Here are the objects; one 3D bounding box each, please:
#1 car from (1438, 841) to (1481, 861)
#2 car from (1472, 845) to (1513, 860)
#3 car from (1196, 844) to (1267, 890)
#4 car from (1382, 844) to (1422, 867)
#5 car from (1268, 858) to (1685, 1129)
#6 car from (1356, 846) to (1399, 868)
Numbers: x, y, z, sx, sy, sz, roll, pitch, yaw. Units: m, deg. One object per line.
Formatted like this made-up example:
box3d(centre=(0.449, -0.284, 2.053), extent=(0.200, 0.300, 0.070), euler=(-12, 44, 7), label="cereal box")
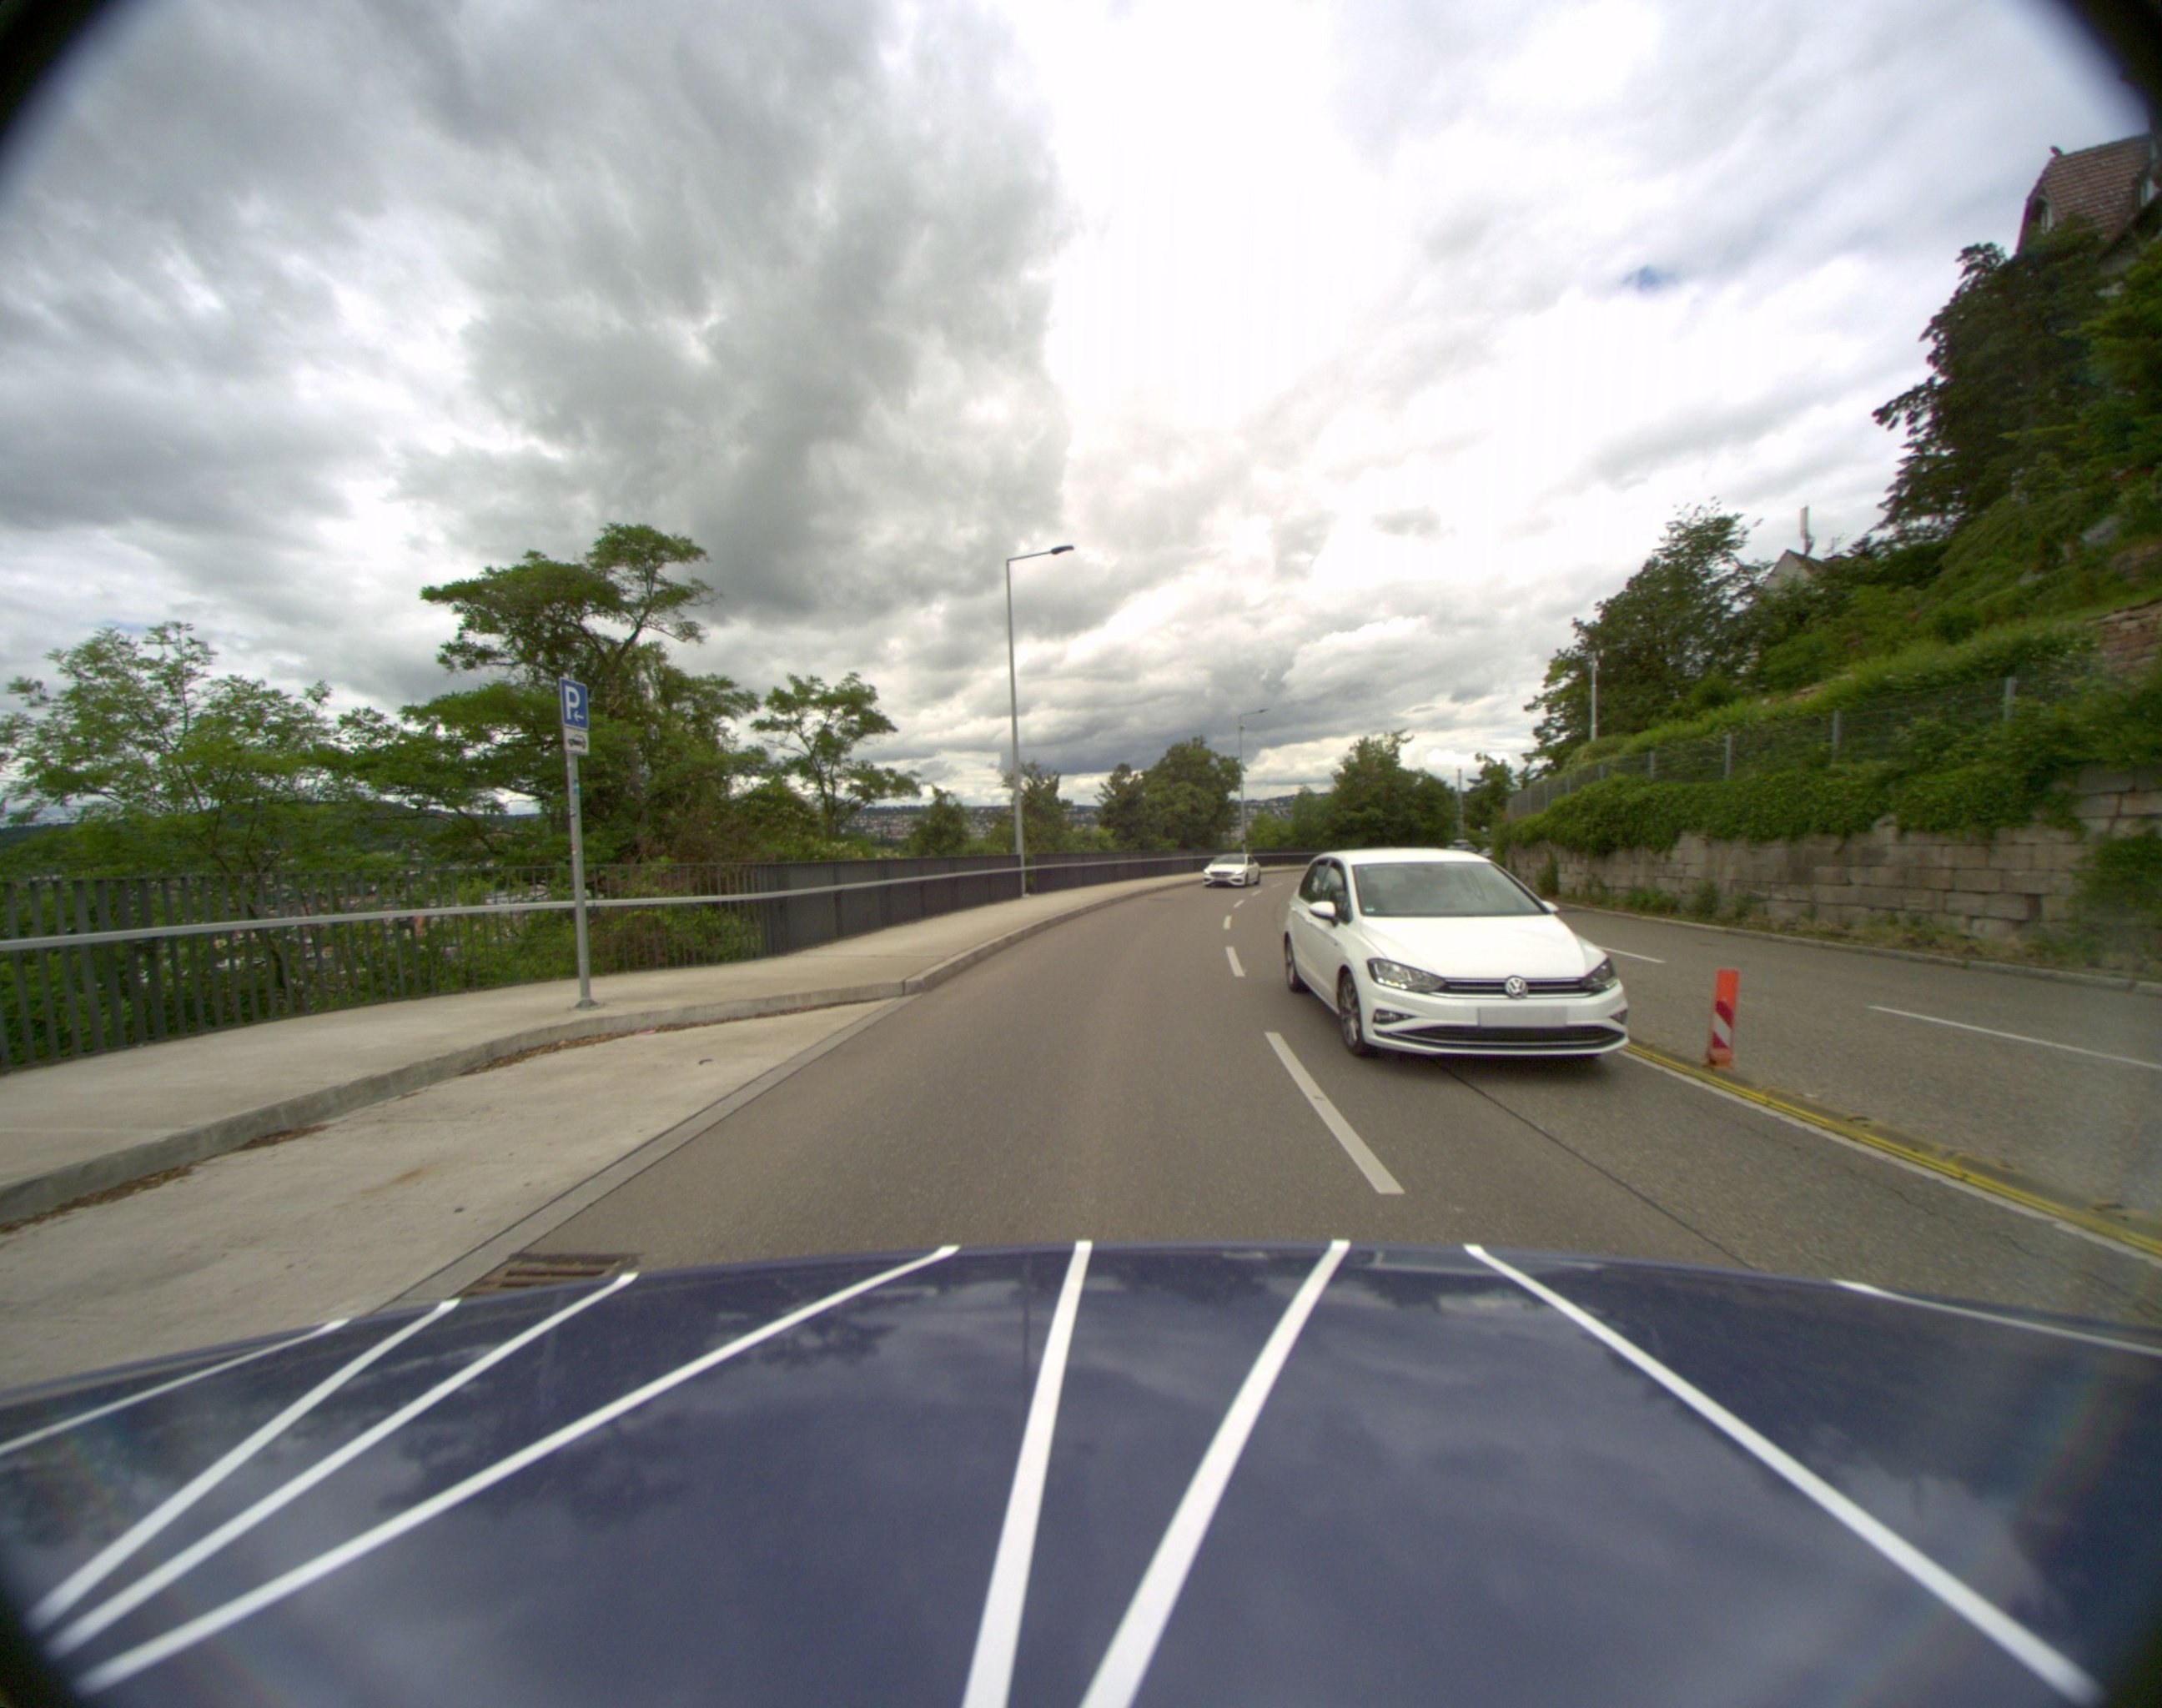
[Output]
box3d(centre=(36.236, -0.302, 72.730), extent=(4.412, 1.822, 1.693), euler=(-1, 5, -35), label="car")
box3d(centre=(41.424, -0.188, 76.519), extent=(4.007, 1.425, 1.929), euler=(0, 2, -33), label="car")
box3d(centre=(6.631, 0.505, 33.201), extent=(1.994, 1.709, 4.006), euler=(2, 3, 27), label="car")
box3d(centre=(22.940, 0.092, 54.260), extent=(1.920, 1.485, 4.148), euler=(0, 2, 33), label="car")
box3d(centre=(2.914, 0.863, 6.786), extent=(1.825, 1.571, 4.358), euler=(-1, 0, 6), label="car")
box3d(centre=(22.820, 0.219, 58.367), extent=(1.896, 1.485, 4.148), euler=(-1, 3, 39), label="car")
